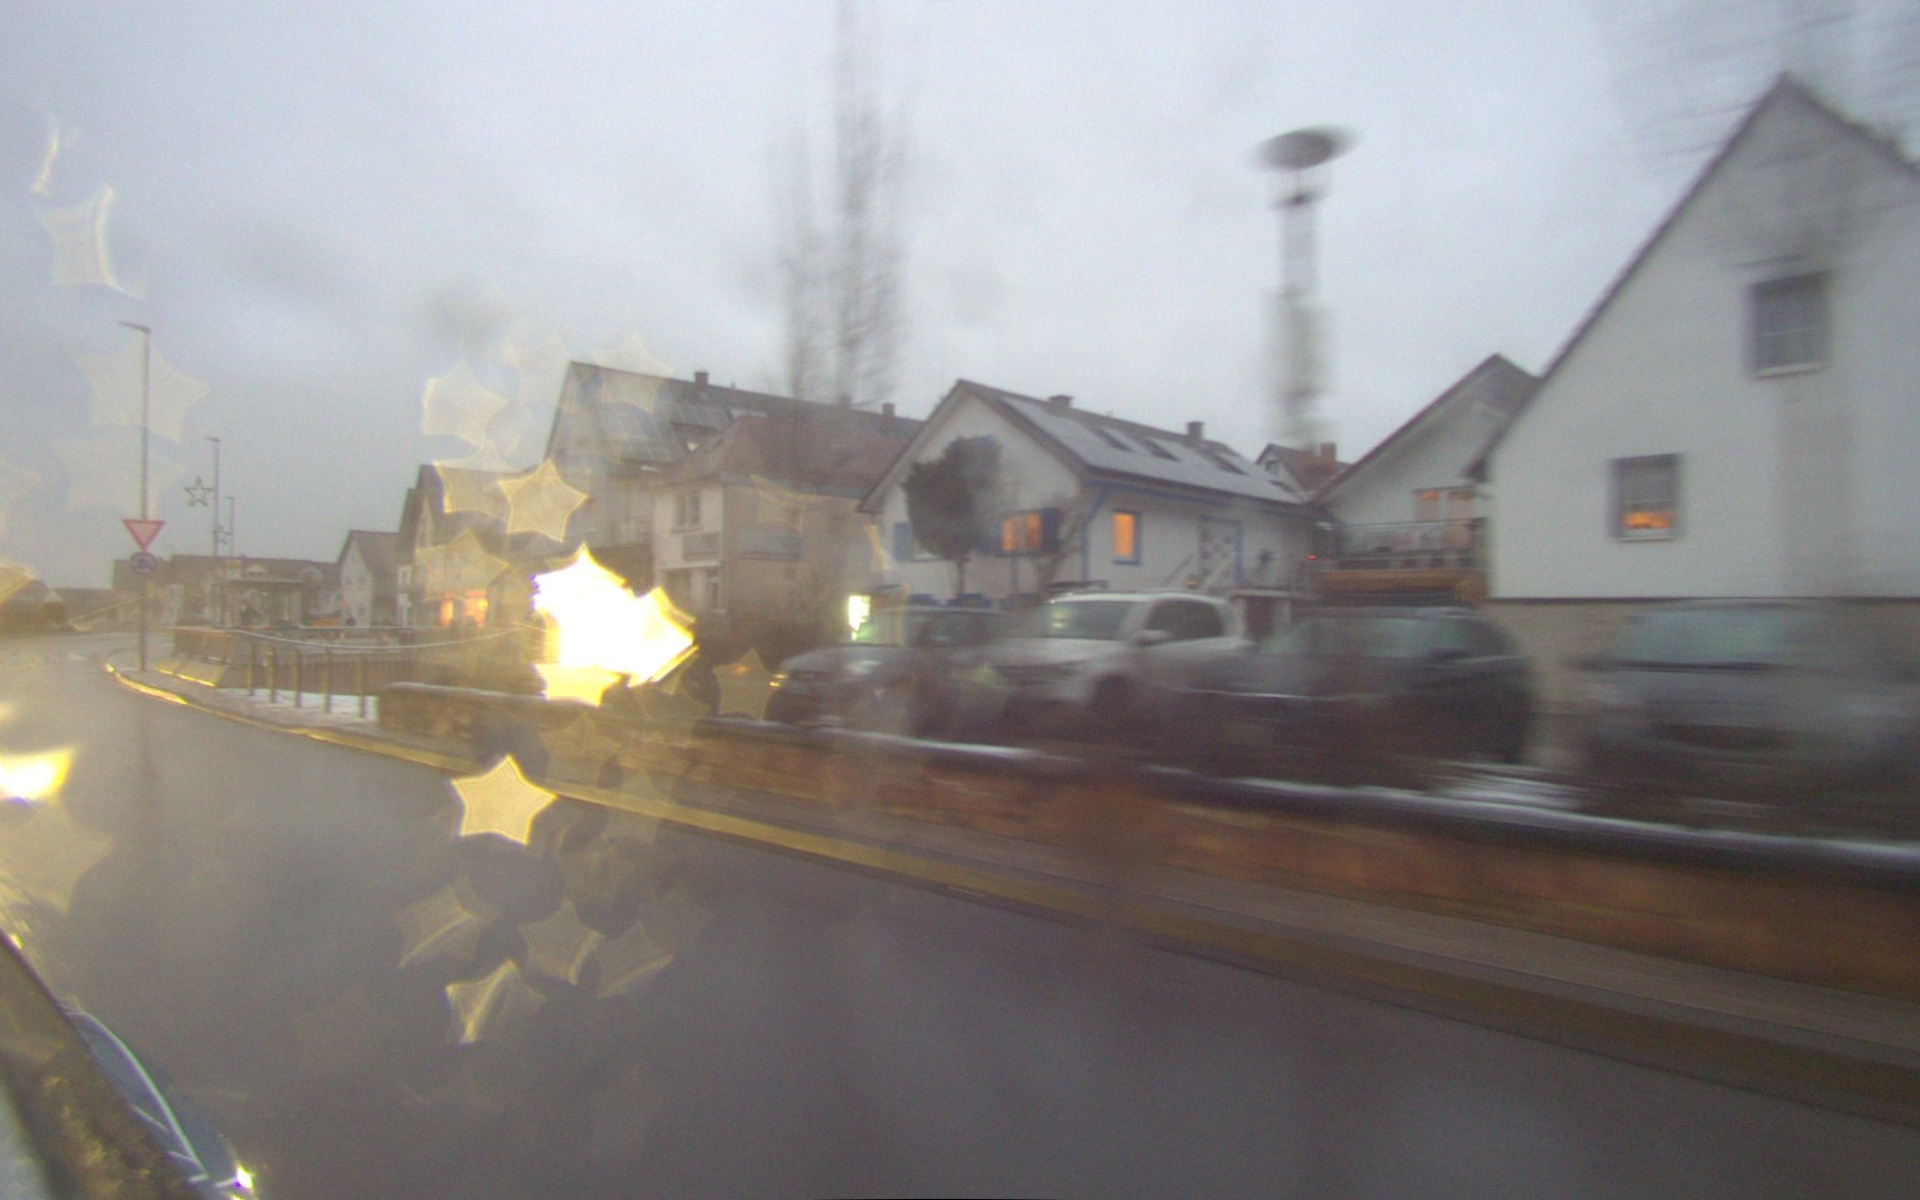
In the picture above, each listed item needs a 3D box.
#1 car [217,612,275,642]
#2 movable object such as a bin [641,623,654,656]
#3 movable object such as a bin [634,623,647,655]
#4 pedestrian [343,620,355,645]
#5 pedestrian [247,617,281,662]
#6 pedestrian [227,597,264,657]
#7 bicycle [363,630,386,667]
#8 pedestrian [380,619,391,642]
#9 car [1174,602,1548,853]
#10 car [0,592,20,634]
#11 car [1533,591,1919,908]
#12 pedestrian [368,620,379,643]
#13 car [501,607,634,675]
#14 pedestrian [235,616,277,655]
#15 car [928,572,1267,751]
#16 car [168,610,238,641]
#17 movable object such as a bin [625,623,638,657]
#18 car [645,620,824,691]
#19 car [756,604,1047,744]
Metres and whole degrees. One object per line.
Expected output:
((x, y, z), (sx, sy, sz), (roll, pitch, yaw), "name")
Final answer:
((-53.052, 1.998, 75.201), (3.952, 2.028, 1.909), (1, 2, 27), "car")
((-11.440, 1.437, 37.060), (0.284, 1.151, 0.454), (-1, 2, -44), "movable object such as a bin")
((-11.830, 1.438, 37.511), (0.284, 1.129, 0.454), (-1, 2, -44), "movable object such as a bin")
((-40.646, 2.159, 67.336), (0.500, 1.623, 0.574), (2, 2, 45), "pedestrian")
((-20.659, 1.168, 30.032), (0.750, 1.281, 0.677), (-2, 0, 45), "pedestrian")
((-21.443, 0.794, 30.358), (0.687, 1.755, 0.740), (-2, 0, 40), "pedestrian")
((-17.017, 1.390, 29.417), (0.463, 1.017, 1.744), (1, -1, -33), "bicycle")
((-41.748, 2.219, 73.571), (0.500, 1.623, 0.574), (2, 2, 45), "pedestrian")
((3.589, 0.835, 8.618), (1.587, 1.620, 4.048), (0, 0, 43), "car")
((-48.962, 0.646, 50.610), (2.024, 2.001, 4.550), (0, 2, -33), "car")
((5.576, 0.728, 7.048), (1.879, 1.509, 4.083), (2, 2, 42), "car")
((-42.147, 2.234, 72.703), (0.500, 1.623, 0.574), (2, 2, 45), "pedestrian")
((-10.819, 1.126, 27.701), (1.734, 1.714, 4.568), (4, -4, -44), "car")
((-21.876, 1.107, 31.435), (0.976, 1.167, 0.903), (-1, -2, -40), "pedestrian")
((1.577, 0.524, 10.661), (1.715, 1.534, 3.752), (0, 0, 43), "car")
((-54.528, 1.823, 72.903), (3.961, 2.010, 1.963), (1, 2, 14), "car")
((-12.350, 1.495, 38.030), (0.284, 1.219, 0.454), (-1, 2, -44), "movable object such as a bin")
((-5.302, 1.246, 23.478), (4.571, 1.494, 1.782), (-2, -3, 43), "car")
((-0.593, 0.778, 12.184), (1.599, 1.383, 3.410), (-2, -1, 39), "car")
